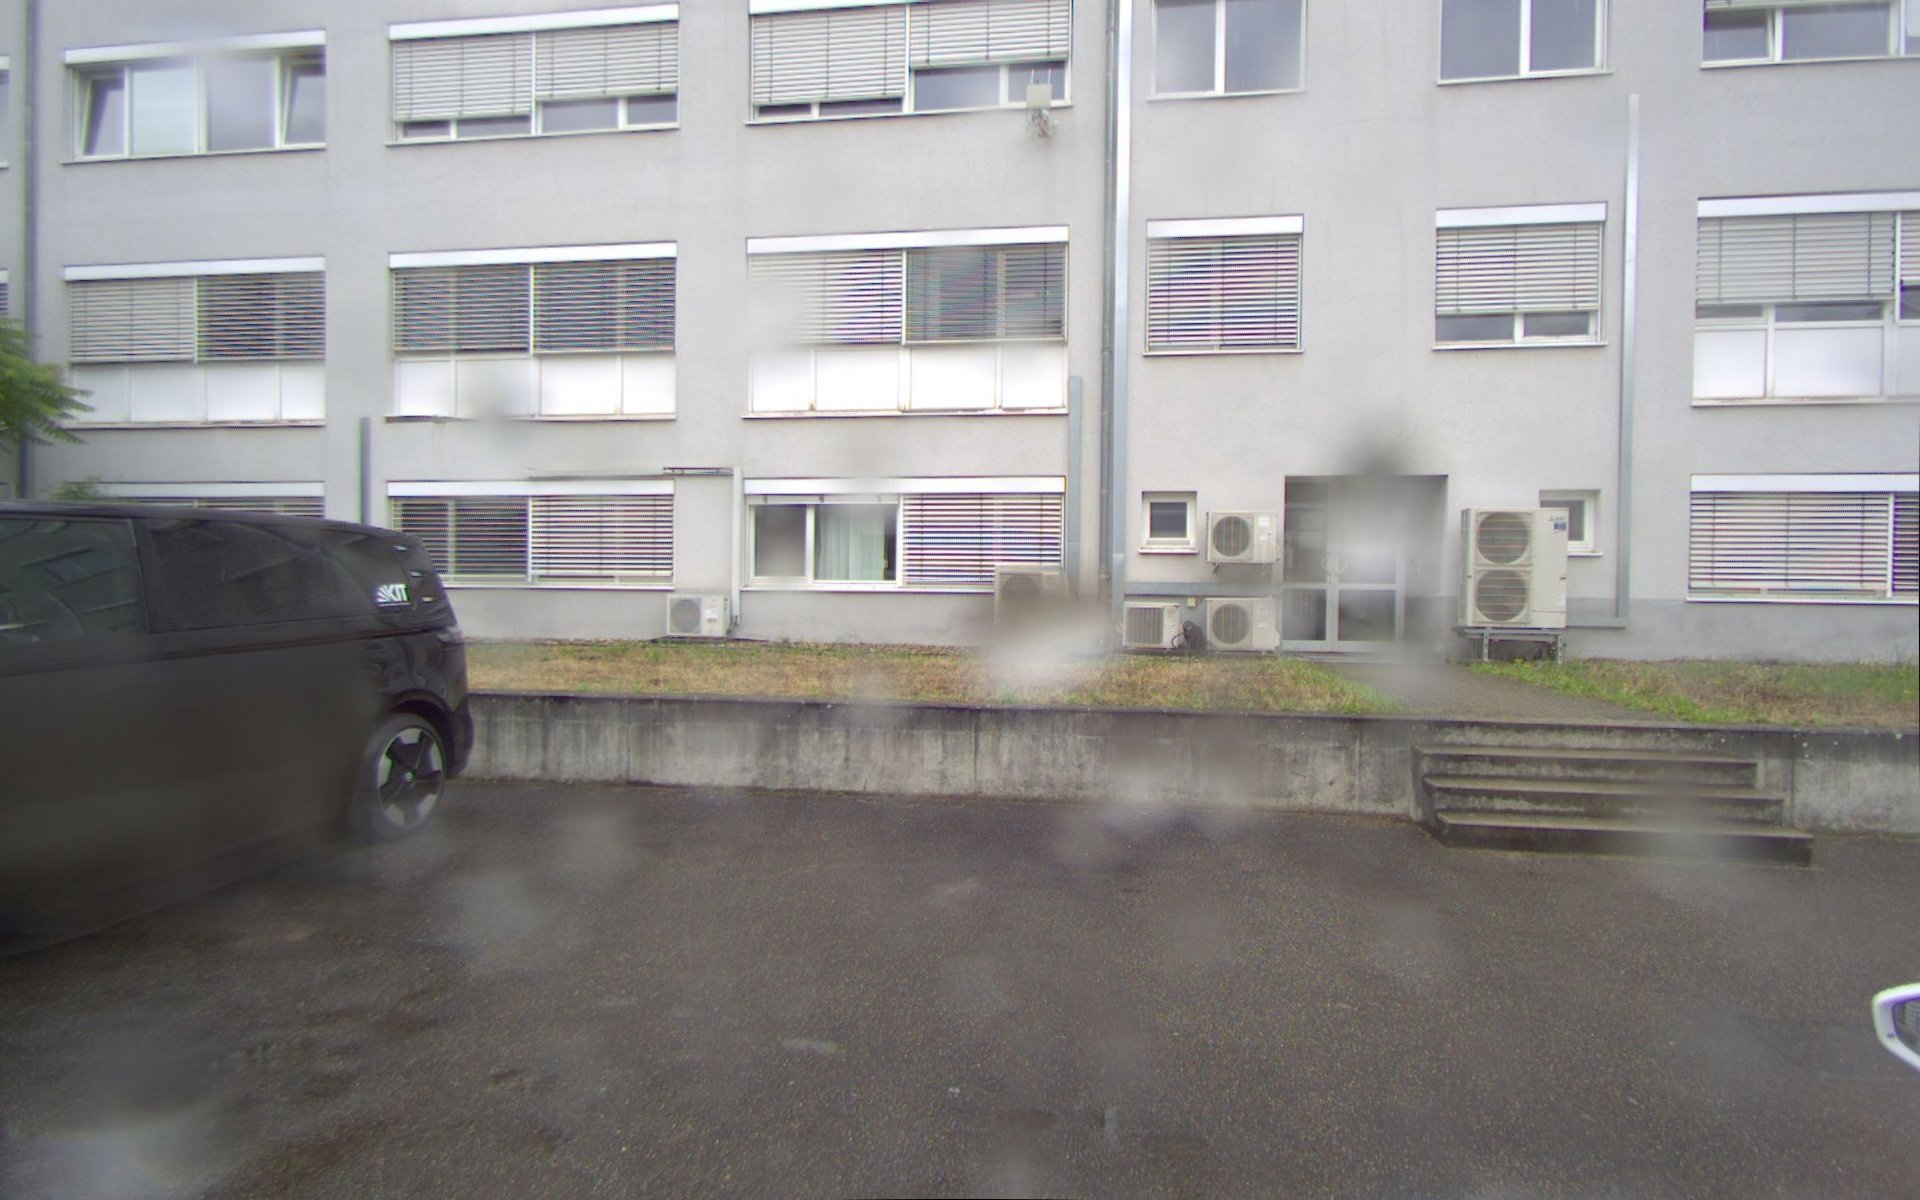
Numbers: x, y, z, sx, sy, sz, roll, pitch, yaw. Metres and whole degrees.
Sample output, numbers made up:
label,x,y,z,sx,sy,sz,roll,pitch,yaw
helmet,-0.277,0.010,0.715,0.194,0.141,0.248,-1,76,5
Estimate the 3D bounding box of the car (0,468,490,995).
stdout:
label,x,y,z,sx,sy,sz,roll,pitch,yaw
car,-4.403,0.478,4.575,2.005,1.923,4.524,0,0,7
